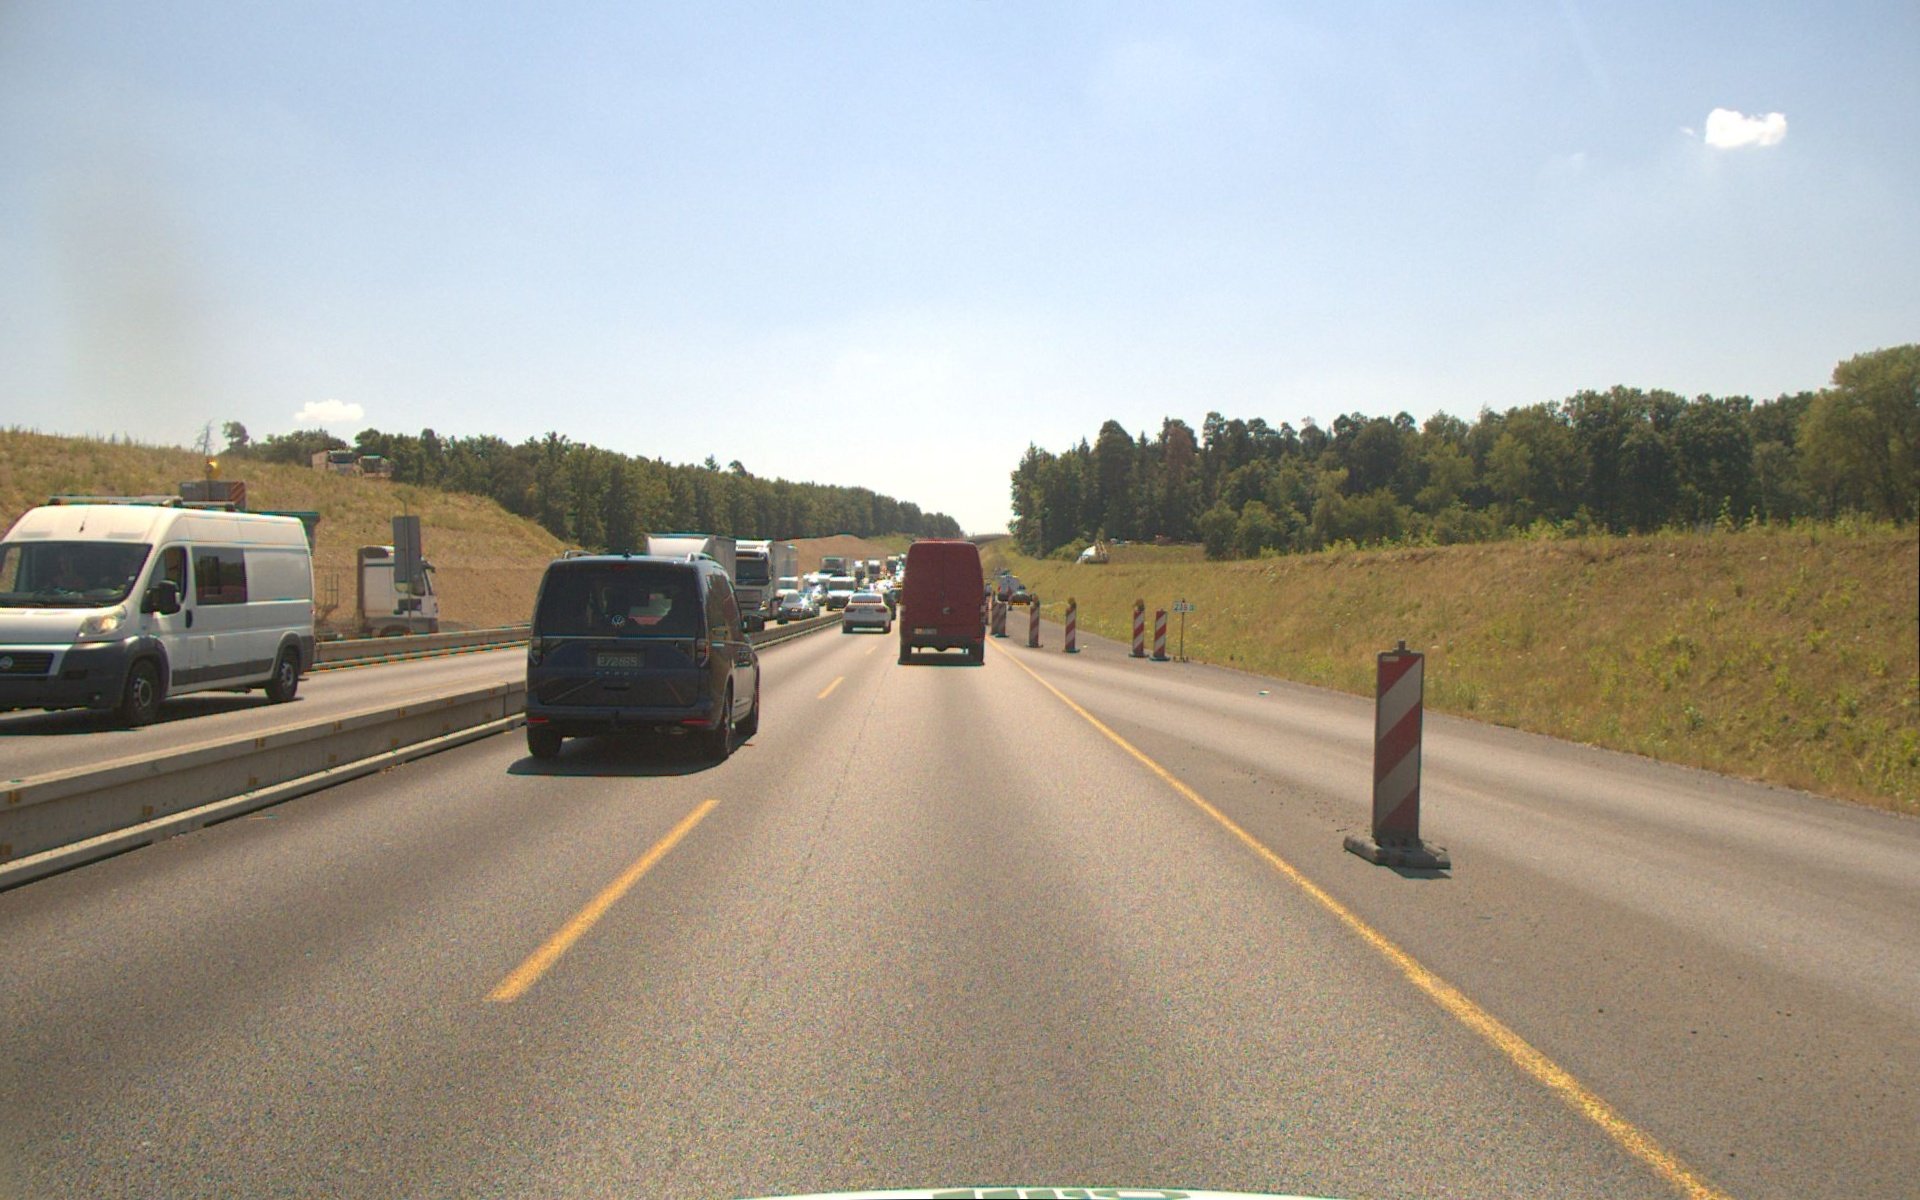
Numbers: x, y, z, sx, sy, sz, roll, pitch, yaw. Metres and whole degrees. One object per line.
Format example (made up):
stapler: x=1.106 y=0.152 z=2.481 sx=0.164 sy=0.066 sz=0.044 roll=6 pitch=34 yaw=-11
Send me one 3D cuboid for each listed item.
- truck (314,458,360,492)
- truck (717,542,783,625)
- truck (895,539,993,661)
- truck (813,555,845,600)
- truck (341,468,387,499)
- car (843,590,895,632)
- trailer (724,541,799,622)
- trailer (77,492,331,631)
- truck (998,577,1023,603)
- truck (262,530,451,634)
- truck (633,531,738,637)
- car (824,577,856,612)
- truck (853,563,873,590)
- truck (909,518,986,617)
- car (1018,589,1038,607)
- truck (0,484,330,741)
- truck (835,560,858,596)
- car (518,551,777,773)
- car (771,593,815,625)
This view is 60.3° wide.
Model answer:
truck: x=-64.651 y=-12.878 z=171.422 sx=2.336 sy=2.949 sz=8.260 roll=1 pitch=0 yaw=-36
truck: x=-10.753 y=-0.815 z=85.051 sx=2.791 sy=4.088 sz=4.858 roll=-1 pitch=0 yaw=-1
truck: x=-0.423 y=0.003 z=38.821 sx=2.110 sy=2.635 sz=5.331 roll=1 pitch=0 yaw=-2
truck: x=-12.580 y=-2.155 z=159.457 sx=2.440 sy=4.272 sz=5.912 roll=-1 pitch=0 yaw=1
truck: x=-64.639 y=-12.638 z=179.315 sx=2.277 sy=2.797 sz=8.792 roll=1 pitch=0 yaw=-36
car: x=-3.456 y=0.421 z=63.521 sx=1.794 sy=1.548 sz=3.960 roll=1 pitch=0 yaw=-1
trailer: x=-10.933 y=-0.918 z=92.408 sx=2.796 sy=4.165 sz=13.649 roll=-1 pitch=0 yaw=-1
trailer: x=-24.041 y=-1.182 z=52.521 sx=8.180 sy=4.170 sz=2.797 roll=1 pitch=0 yaw=27
truck: x=5.214 y=-1.067 z=168.612 sx=2.084 sy=2.499 sz=5.930 roll=1 pitch=1 yaw=6
truck: x=-18.707 y=-0.512 z=51.313 sx=5.002 sy=3.016 sz=2.556 roll=1 pitch=-1 yaw=-35
truck: x=-10.524 y=-0.558 z=64.317 sx=2.591 sy=3.781 sz=9.480 roll=1 pitch=0 yaw=-1
car: x=-8.323 y=-0.394 z=115.305 sx=1.953 sy=2.332 sz=5.342 roll=1 pitch=1 yaw=-2
truck: x=-15.126 y=-3.662 z=258.196 sx=2.712 sy=4.114 sz=4.942 roll=1 pitch=0 yaw=0
truck: x=-0.847 y=-1.810 z=102.268 sx=4.311 sy=5.592 sz=16.599 roll=1 pitch=0 yaw=-1
car: x=6.169 y=-0.189 z=150.527 sx=1.620 sy=1.451 sz=4.545 roll=-2 pitch=1 yaw=0
truck: x=-9.870 y=0.033 z=20.186 sx=2.056 sy=2.614 sz=6.353 roll=1 pitch=1 yaw=-2
truck: x=-13.586 y=-2.645 z=198.502 sx=2.539 sy=4.124 sz=5.148 roll=1 pitch=1 yaw=-2
car: x=-2.916 y=0.494 z=16.447 sx=1.716 sy=1.856 sz=4.782 roll=1 pitch=1 yaw=-1
car: x=-7.899 y=0.425 z=78.471 sx=1.820 sy=1.467 sz=4.498 roll=1 pitch=0 yaw=-3
